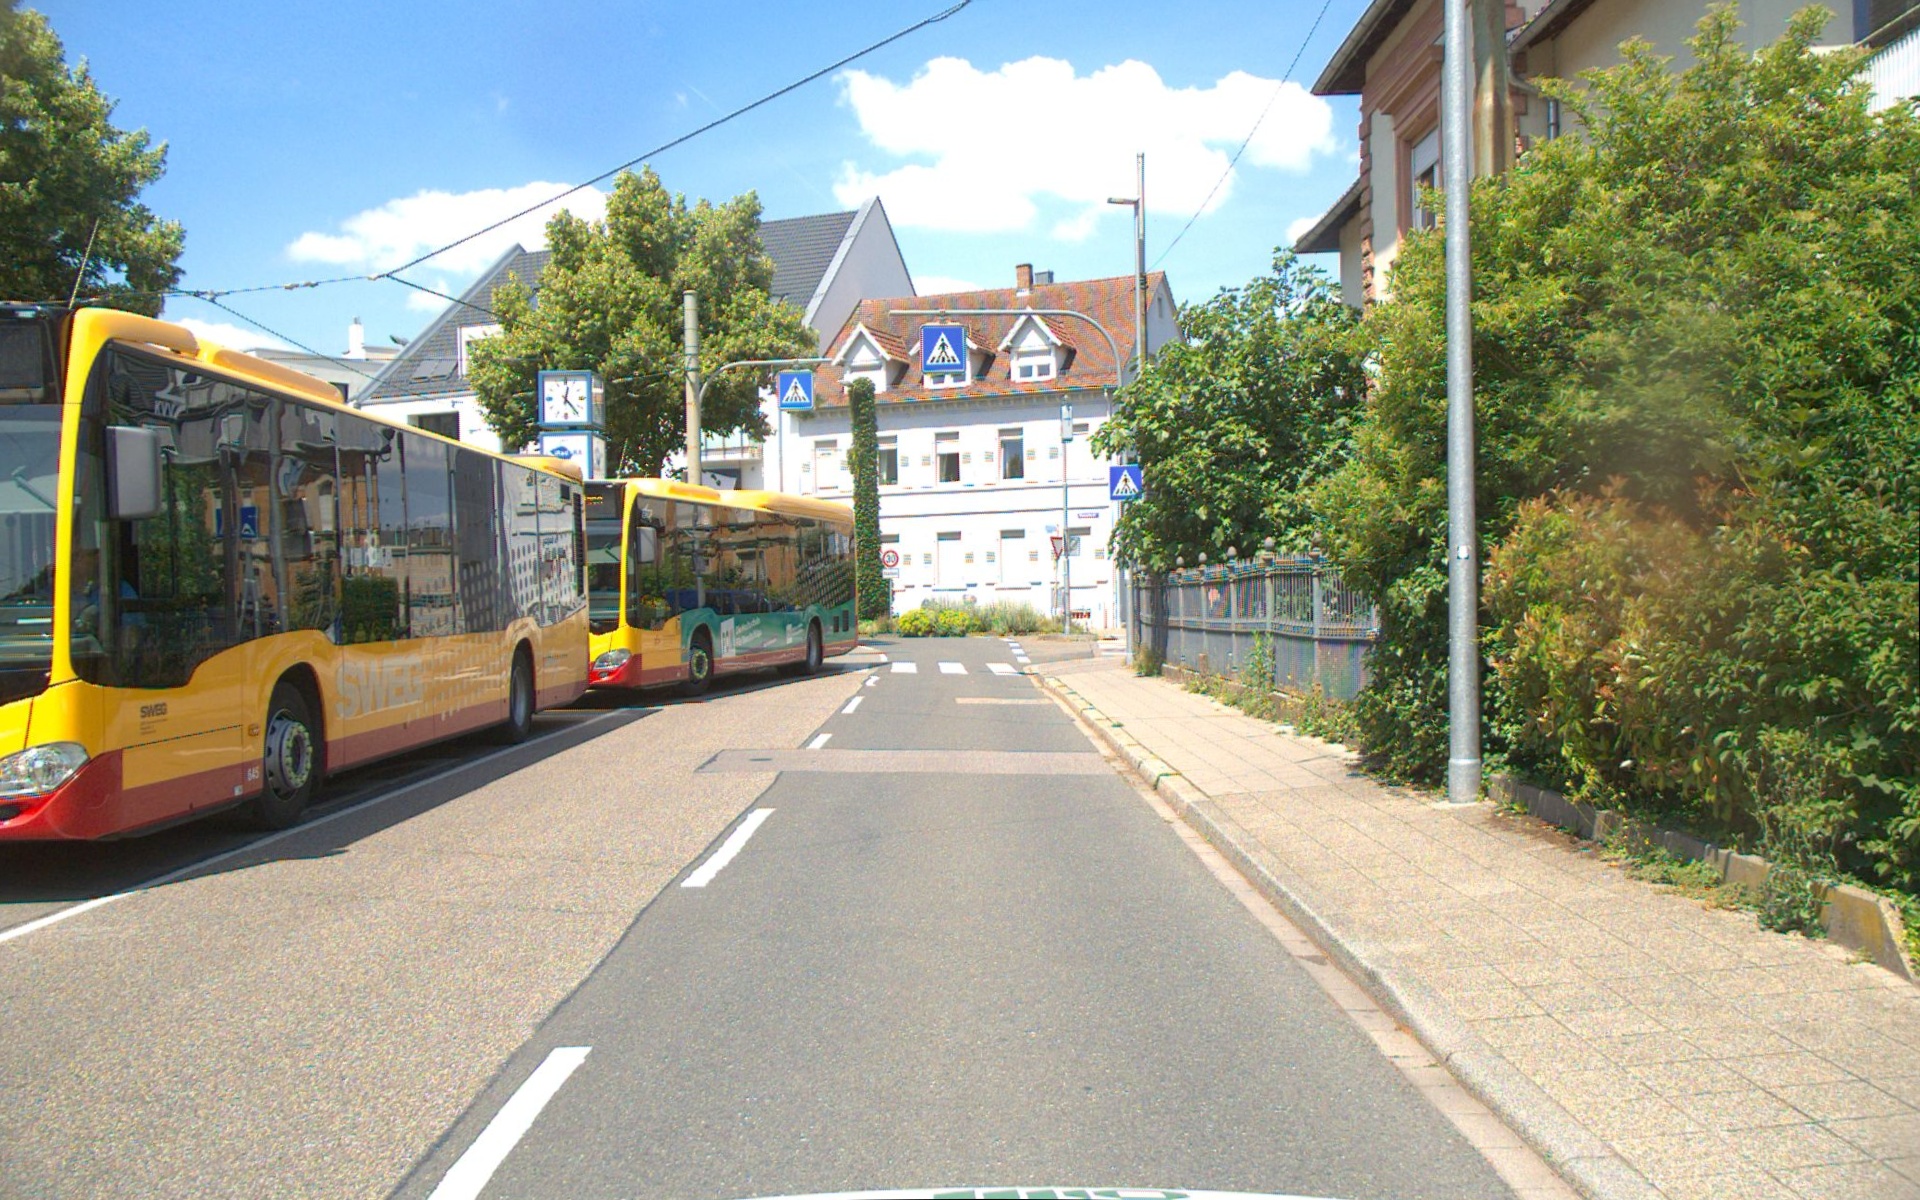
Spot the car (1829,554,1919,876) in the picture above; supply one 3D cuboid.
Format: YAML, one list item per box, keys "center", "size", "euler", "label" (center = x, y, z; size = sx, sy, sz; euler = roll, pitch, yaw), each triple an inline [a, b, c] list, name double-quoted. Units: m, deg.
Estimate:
- center: [5.844, 0.626, 7.363]
  size: [1.725, 1.656, 3.999]
  euler: [4, -1, -1]
  label: "car"

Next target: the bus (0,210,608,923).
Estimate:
- center: [-5.560, -0.134, 13.696]
  size: [2.848, 3.305, 12.115]
  euler: [1, 0, -1]
  label: "bus"

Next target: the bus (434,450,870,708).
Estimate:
- center: [-4.321, -0.353, 27.259]
  size: [2.720, 3.264, 12.318]
  euler: [1, 1, 11]
  label: "bus"
